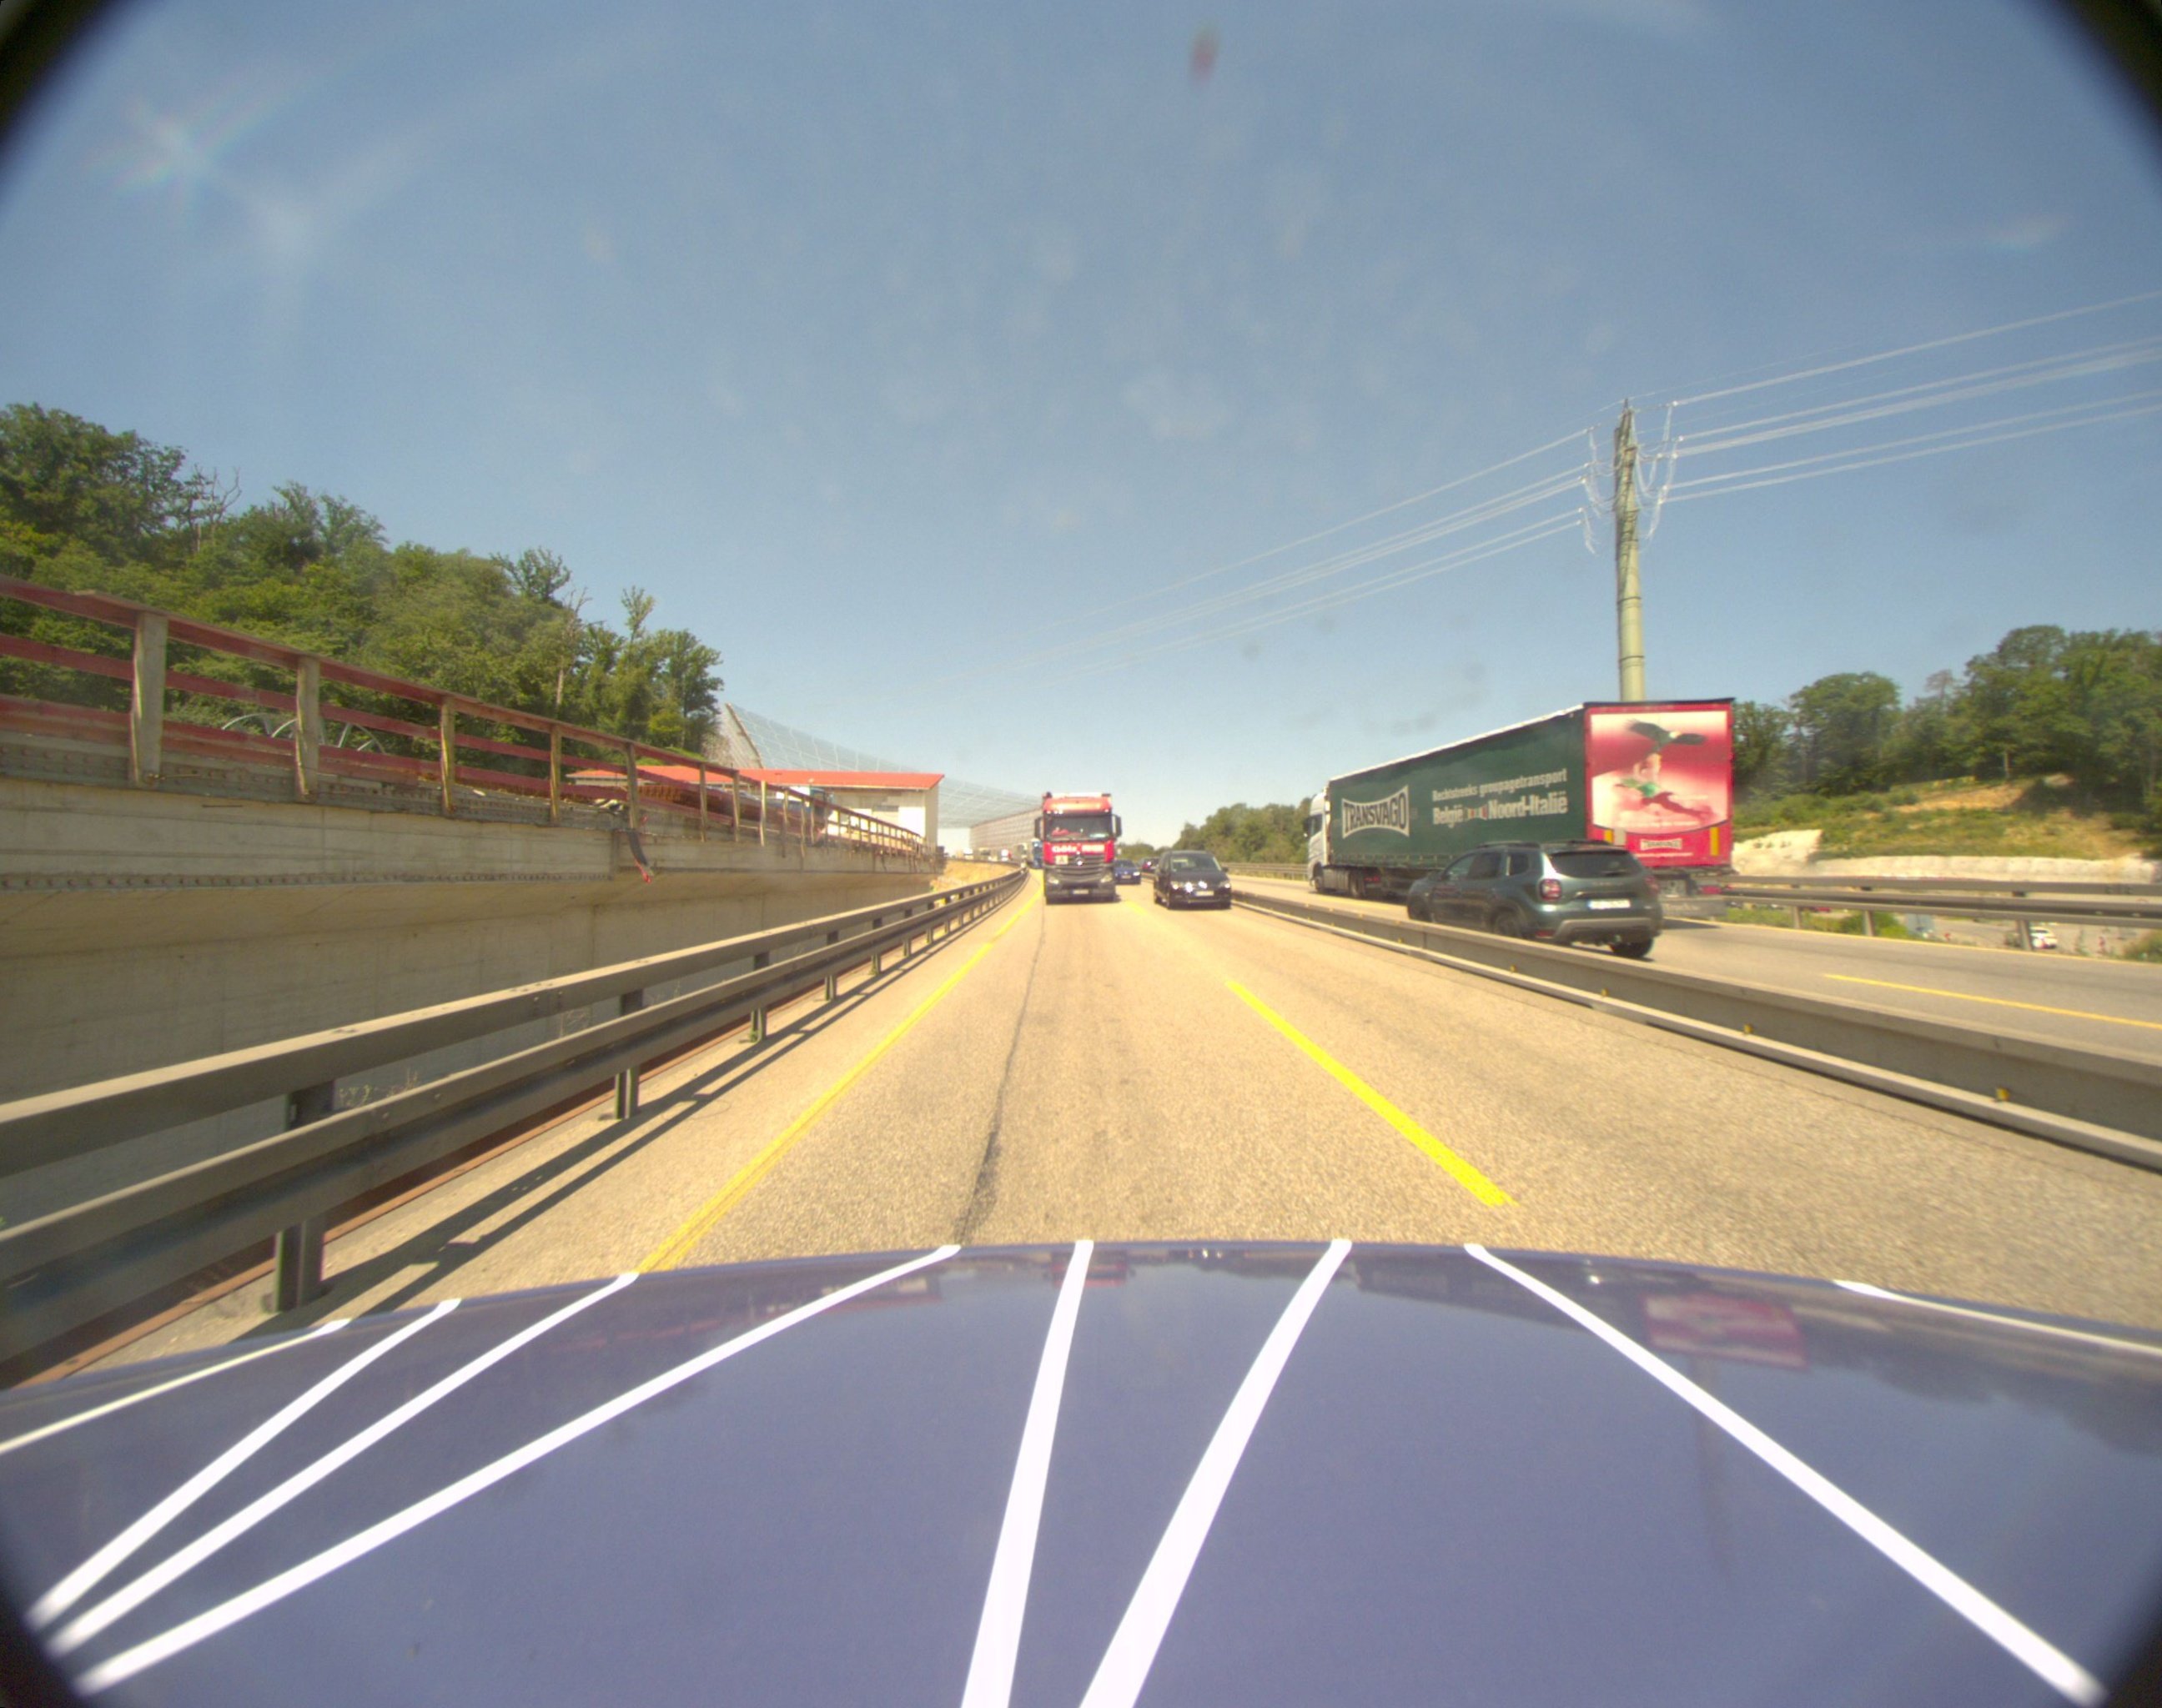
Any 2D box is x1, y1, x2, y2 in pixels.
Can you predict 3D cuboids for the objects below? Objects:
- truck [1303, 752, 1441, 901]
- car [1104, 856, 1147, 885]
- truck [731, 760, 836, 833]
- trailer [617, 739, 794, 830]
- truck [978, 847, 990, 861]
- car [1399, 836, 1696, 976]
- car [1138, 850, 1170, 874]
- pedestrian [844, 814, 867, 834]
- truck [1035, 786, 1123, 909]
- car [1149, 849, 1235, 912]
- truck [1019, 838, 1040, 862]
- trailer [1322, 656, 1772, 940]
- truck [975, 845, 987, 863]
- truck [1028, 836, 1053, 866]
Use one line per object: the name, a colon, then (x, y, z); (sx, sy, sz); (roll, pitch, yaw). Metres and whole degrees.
truck: (10.167, -0.895, 27.105); (3.068, 4.793, 4.645); (-2, 0, 0)
car: (2.543, 0.953, 44.310); (1.896, 1.546, 4.785); (-1, 0, -4)
truck: (-17.678, -3.309, 45.524); (2.713, 3.671, 5.721); (-1, -2, 21)
trailer: (-19.576, -3.445, 40.500); (2.713, 3.671, 9.013); (-1, -2, 21)
truck: (-29.400, -0.154, 230.211); (3.044, 4.033, 8.666); (-2, 1, -10)
car: (6.563, 0.634, 11.342); (1.962, 1.671, 4.114); (-1, 0, 1)
car: (5.525, 0.585, 58.261); (1.998, 1.630, 4.853); (-2, 1, 0)
pedestrian: (-13.406, -1.771, 45.184); (1.022, 1.144, 0.994); (-2, 1, 3)
truck: (-0.189, -0.275, 30.271); (2.798, 3.986, 10.426); (-2, 1, -1)
car: (3.296, 0.759, 23.527); (1.861, 1.695, 5.304); (-1, 0, 0)
truck: (-9.544, -0.699, 140.292); (2.912, 4.207, 9.233); (-2, 1, -9)
trailer: (10.225, -0.941, 20.033); (3.072, 4.787, 14.001); (-2, 0, 0)
truck: (-28.255, -0.119, 214.363); (3.044, 4.778, 8.933); (-2, 1, -10)
truck: (-5.886, -0.475, 109.453); (2.673, 3.986, 10.421); (-2, 1, -7)
